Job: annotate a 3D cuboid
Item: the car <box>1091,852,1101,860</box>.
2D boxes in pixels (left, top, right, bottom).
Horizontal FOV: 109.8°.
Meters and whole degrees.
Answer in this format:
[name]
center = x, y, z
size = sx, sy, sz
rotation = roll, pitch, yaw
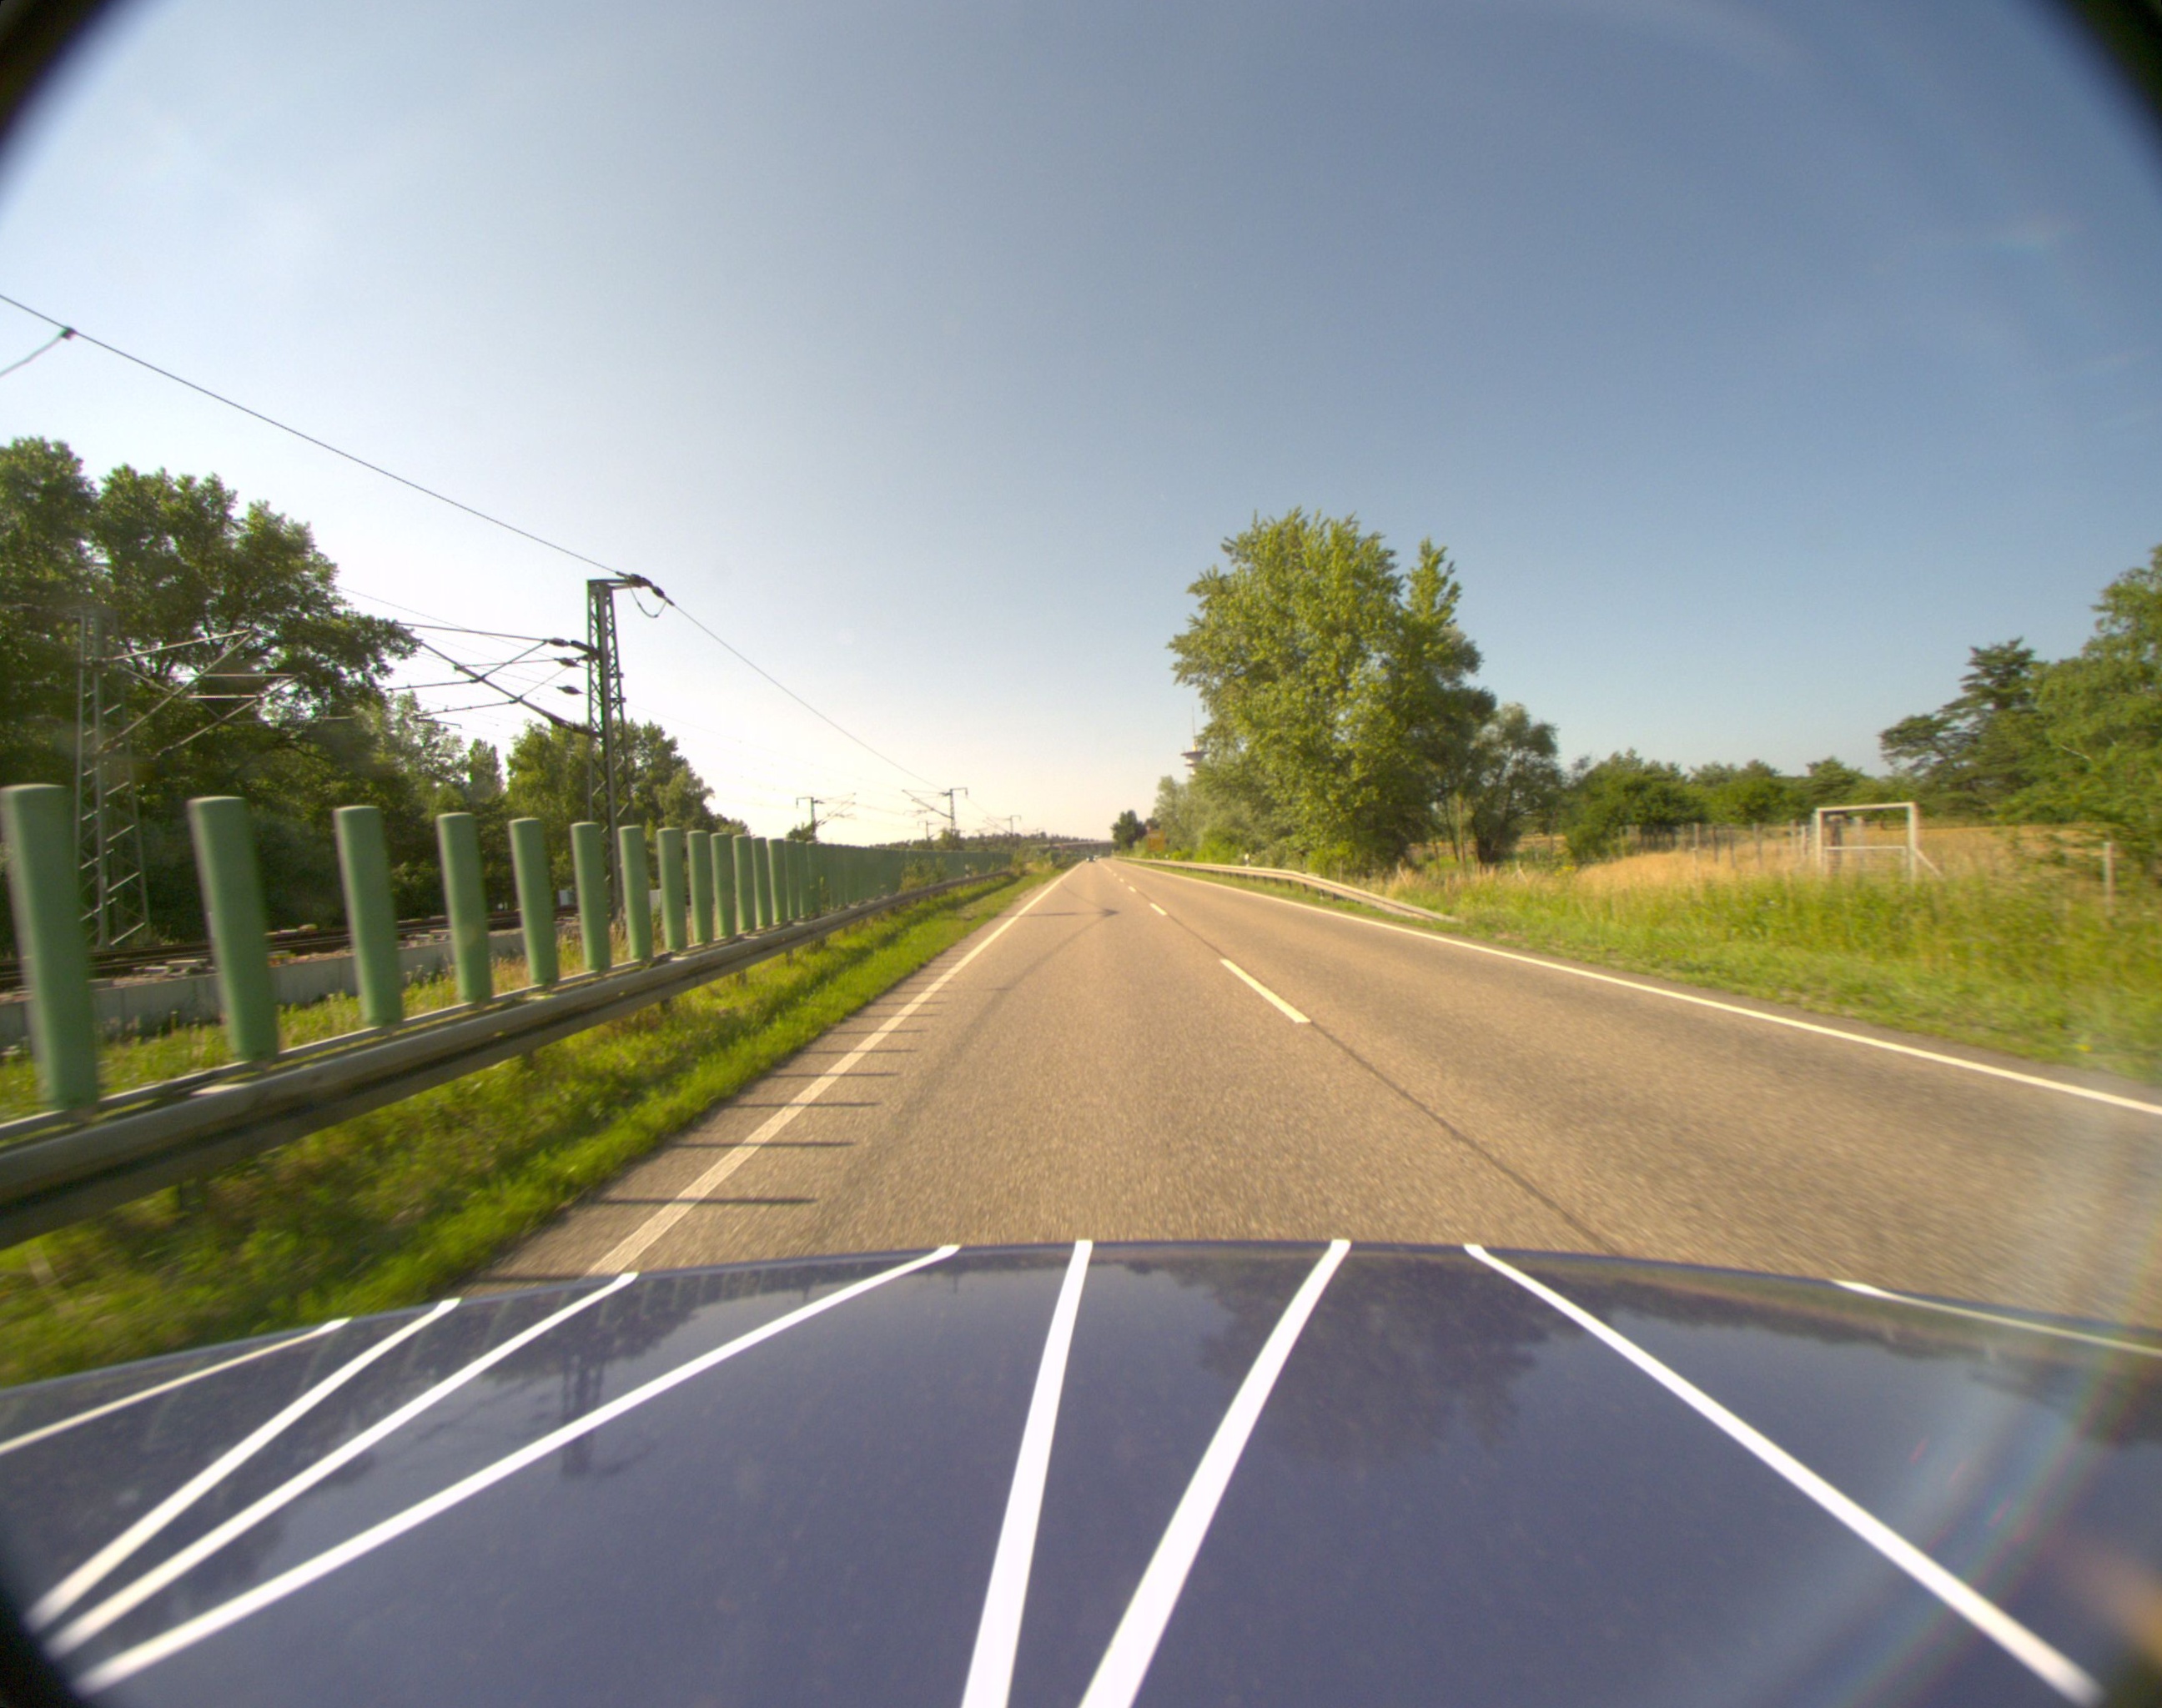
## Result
[car]
center = 3.068, 0.345, 157.598
size = 1.868, 1.533, 4.076
rotation = -1, 0, 2
